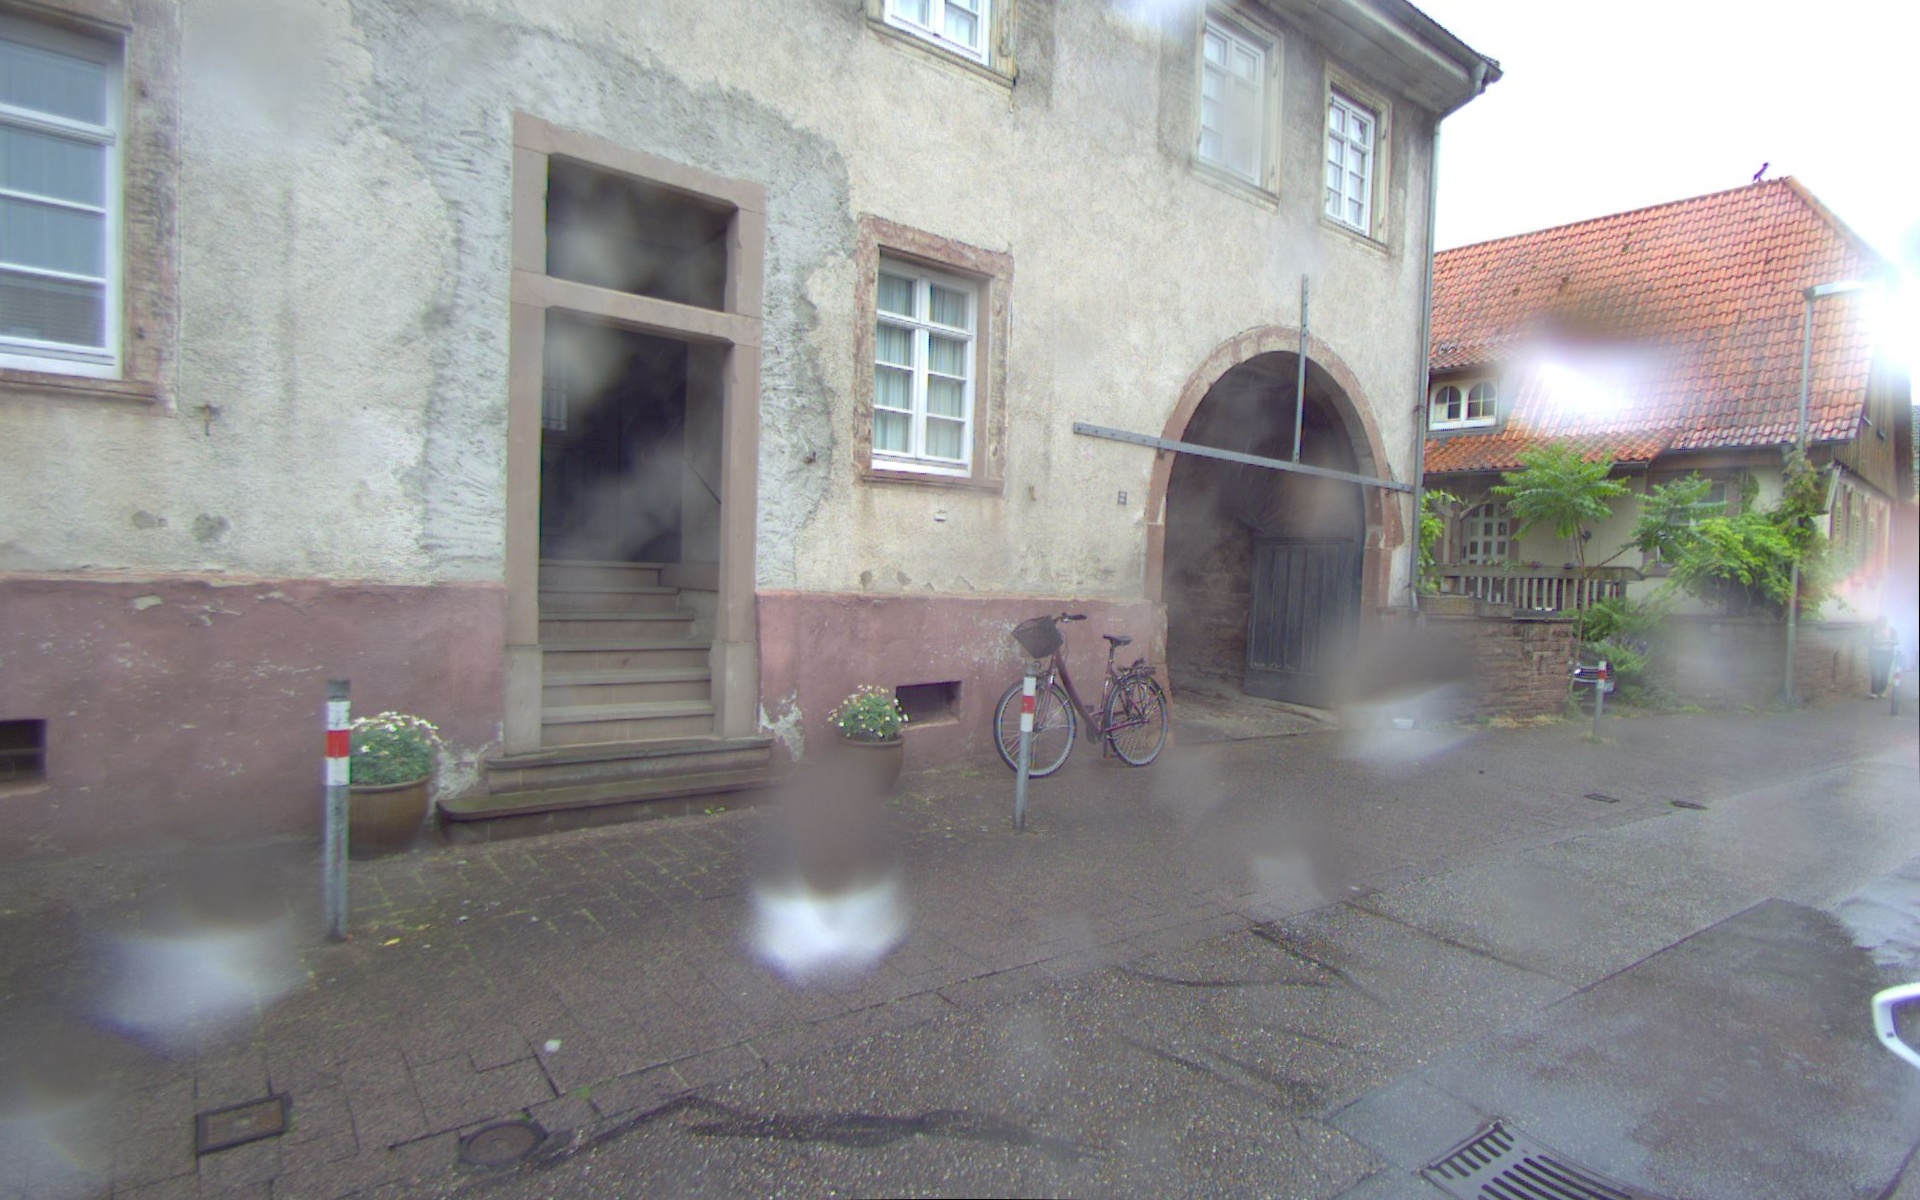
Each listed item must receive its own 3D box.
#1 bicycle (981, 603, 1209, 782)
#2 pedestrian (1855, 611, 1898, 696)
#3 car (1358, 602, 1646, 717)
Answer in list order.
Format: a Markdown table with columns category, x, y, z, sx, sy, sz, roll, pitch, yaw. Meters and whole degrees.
| category | x | y | z | sx | sy | sz | roll | pitch | yaw |
| --- | --- | --- | --- | --- | --- | --- | --- | --- | --- |
| bicycle | 1.058 | 0.665 | 7.582 | 1.818 | 1.196 | 0.479 | 2 | 2 | -36 |
| pedestrian | 17.223 | 0.987 | 18.876 | 0.561 | 1.551 | 0.566 | 2 | 0 | 43 |
| car | 8.113 | 0.809 | 15.311 | 1.579 | 1.394 | 3.504 | 1 | 2 | -35 |
